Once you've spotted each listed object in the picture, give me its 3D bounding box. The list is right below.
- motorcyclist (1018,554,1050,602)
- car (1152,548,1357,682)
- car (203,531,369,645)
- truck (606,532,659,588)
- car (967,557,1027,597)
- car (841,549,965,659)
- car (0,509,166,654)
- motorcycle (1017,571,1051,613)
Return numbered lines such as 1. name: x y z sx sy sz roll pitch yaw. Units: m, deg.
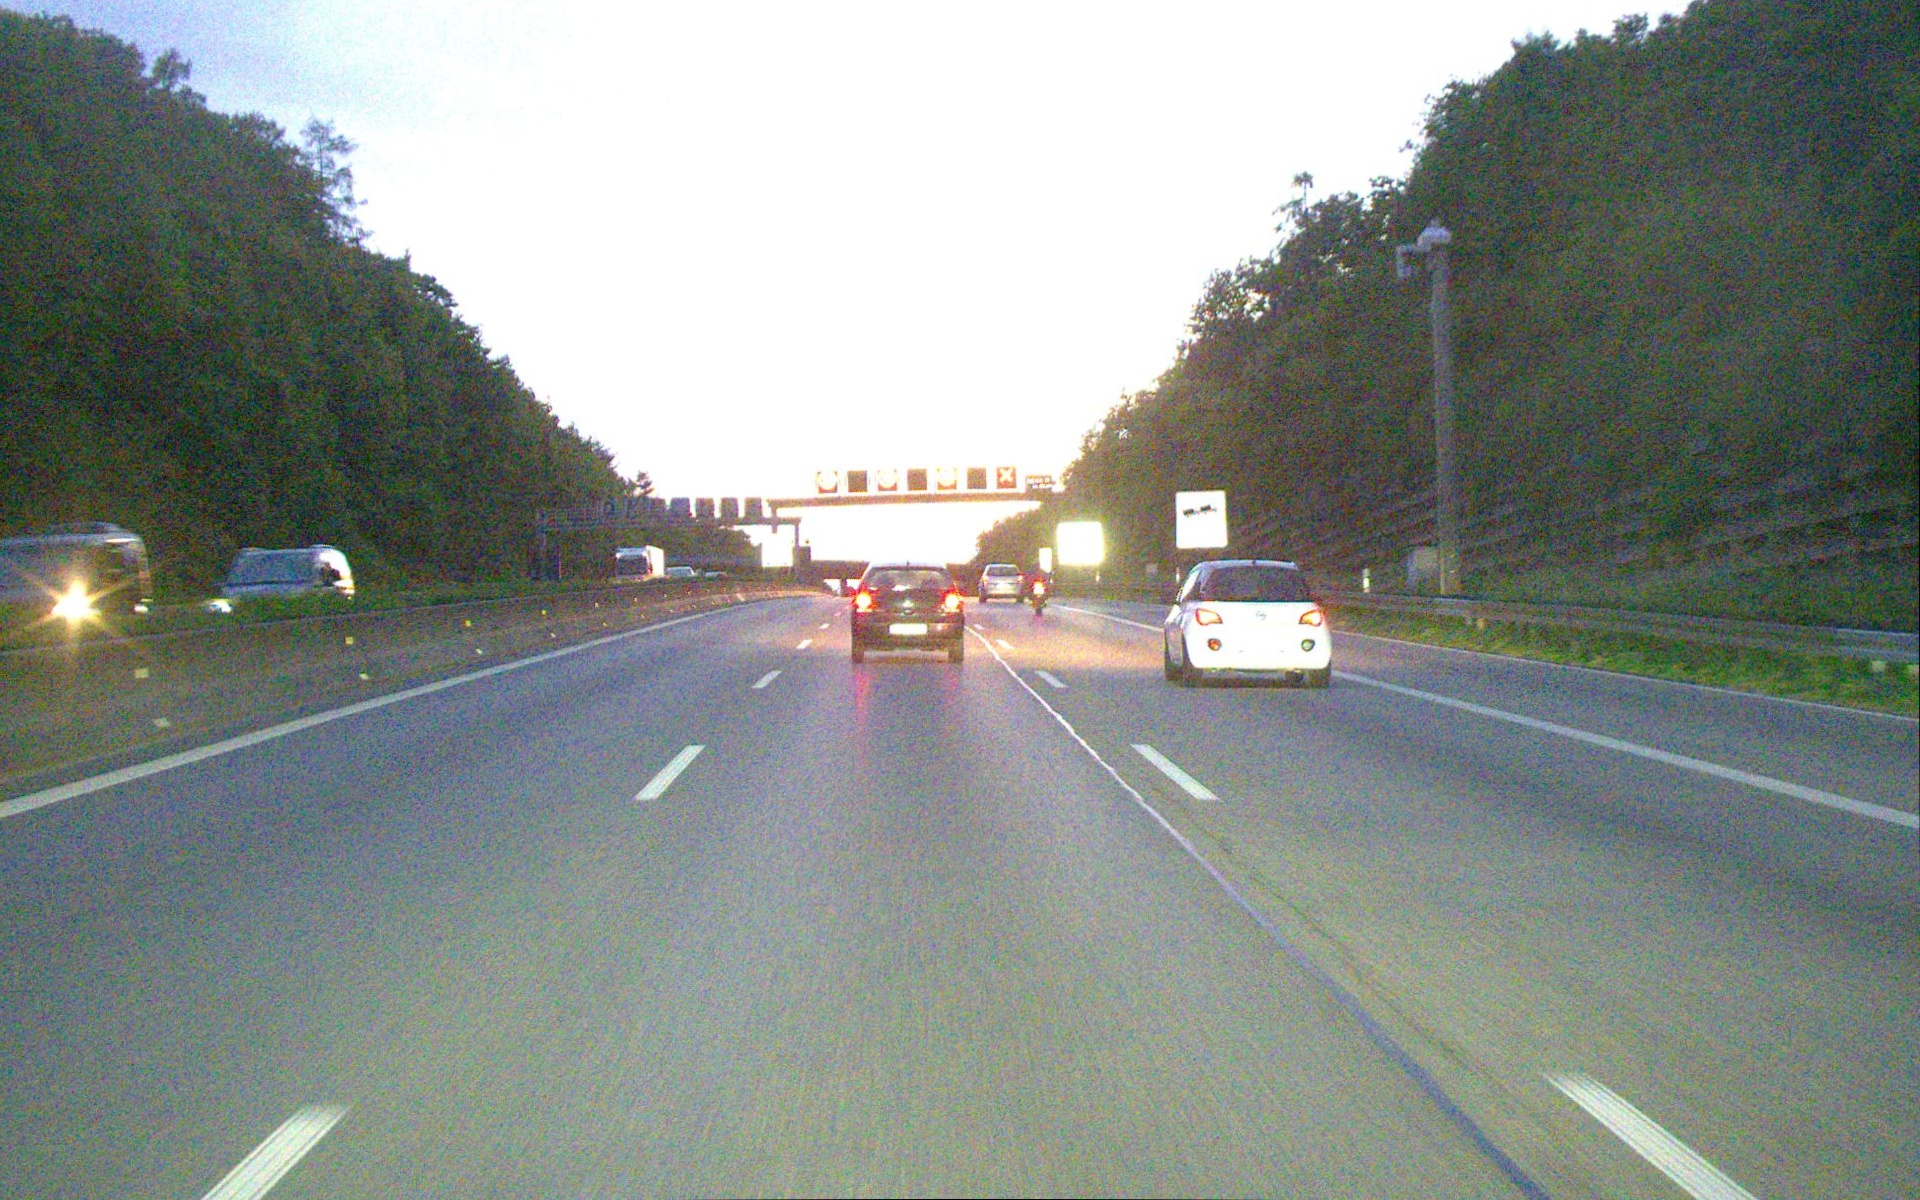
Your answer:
1. motorcyclist: 2.024 -0.605 94.156 0.829 1.287 1.190 0 0 -1
2. car: 3.422 0.186 40.720 1.825 1.471 4.399 1 -1 -3
3. car: -12.494 -0.251 64.065 1.993 2.007 5.359 -1 1 0
4. truck: -23.887 -2.936 250.758 3.380 3.990 6.880 -1 0 -2
5. car: 1.437 -0.894 135.045 1.865 1.489 4.399 1 -1 -5
6. car: -0.826 0.081 50.117 1.704 1.504 4.232 1 -1 -1
7. car: -16.437 -0.371 62.896 2.312 2.475 7.520 -1 1 -2
8. motorcycle: 2.028 -0.209 94.218 0.829 1.130 2.476 0 0 -1
